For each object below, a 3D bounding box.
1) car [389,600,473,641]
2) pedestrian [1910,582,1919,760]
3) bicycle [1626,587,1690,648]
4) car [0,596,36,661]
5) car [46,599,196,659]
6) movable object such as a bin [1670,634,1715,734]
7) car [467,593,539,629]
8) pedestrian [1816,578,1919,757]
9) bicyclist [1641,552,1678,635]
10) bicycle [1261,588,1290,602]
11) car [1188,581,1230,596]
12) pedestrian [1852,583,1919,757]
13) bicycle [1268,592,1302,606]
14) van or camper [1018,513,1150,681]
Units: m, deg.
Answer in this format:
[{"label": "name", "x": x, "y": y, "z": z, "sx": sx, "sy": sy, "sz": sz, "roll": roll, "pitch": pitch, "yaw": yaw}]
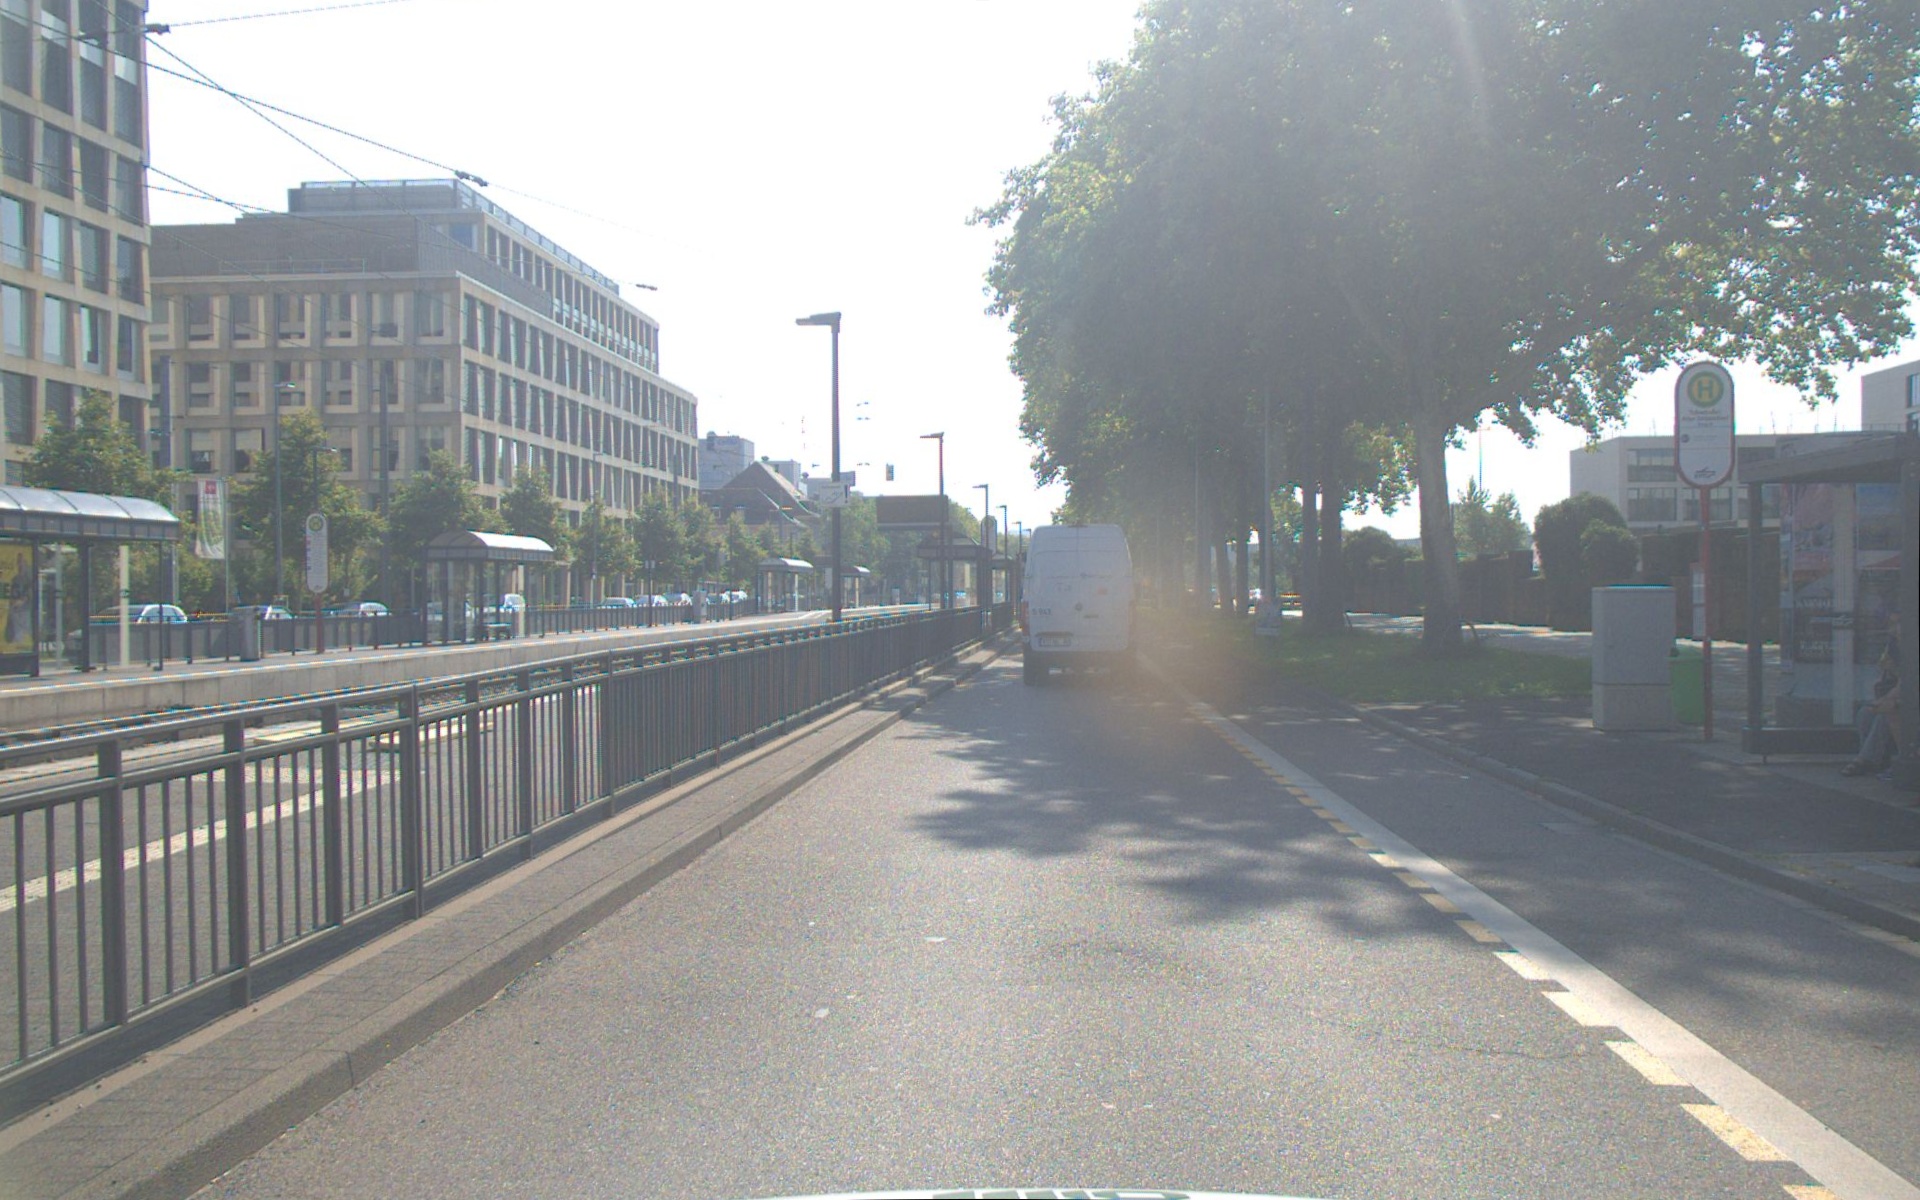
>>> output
[{"label": "car", "x": -20.536, "y": 0.766, "z": 64.362, "sx": 1.648, "sy": 1.432, "sz": 4.375, "roll": -1, "pitch": 1, "yaw": 3}, {"label": "pedestrian", "x": 7.289, "y": 0.518, "z": 11.766, "sx": 0.725, "sy": 1.283, "sz": 0.612, "roll": 1, "pitch": -1, "yaw": 4}, {"label": "bicycle", "x": 13.379, "y": 0.319, "z": 31.742, "sx": 0.481, "sy": 1.108, "sz": 1.858, "roll": -1, "pitch": 1, "yaw": 1}, {"label": "car", "x": -22.219, "y": 0.672, "z": 35.901, "sx": 1.648, "sy": 1.432, "sz": 4.375, "roll": -1, "pitch": 1, "yaw": 3}, {"label": "car", "x": -21.812, "y": 0.715, "z": 43.180, "sx": 1.648, "sy": 1.432, "sz": 4.084, "roll": -1, "pitch": 1, "yaw": 3}, {"label": "movable object such as a bin", "x": 7.024, "y": 0.804, "z": 15.863, "sx": 0.265, "sy": 0.931, "sz": 0.386, "roll": -1, "pitch": 0, "yaw": 2}, {"label": "car", "x": -19.420, "y": 0.444, "z": 70.466, "sx": 1.648, "sy": 1.432, "sz": 4.373, "roll": -1, "pitch": 1, "yaw": 3}, {"label": "pedestrian", "x": 7.366, "y": 0.530, "z": 13.225, "sx": 0.734, "sy": 1.390, "sz": 0.612, "roll": 1, "pitch": -1, "yaw": 4}, {"label": "bicyclist", "x": 13.376, "y": -0.120, "z": 31.632, "sx": 0.459, "sy": 1.566, "sz": 0.596, "roll": -1, "pitch": 0, "yaw": 1}, {"label": "bicycle", "x": 21.396, "y": -0.324, "z": 112.232, "sx": 1.891, "sy": 0.861, "sz": 0.372, "roll": -2, "pitch": 0, "yaw": 4}, {"label": "car", "x": 24.443, "y": -1.134, "z": 162.314, "sx": 3.903, "sy": 1.400, "sz": 2.001, "roll": 1, "pitch": -1, "yaw": 4}, {"label": "pedestrian", "x": 7.296, "y": 0.524, "z": 12.559, "sx": 0.725, "sy": 1.283, "sz": 0.612, "roll": 1, "pitch": -1, "yaw": 4}, {"label": "bicycle", "x": 21.473, "y": -0.073, "z": 109.278, "sx": 2.134, "sy": 0.861, "sz": 0.503, "roll": -2, "pitch": 0, "yaw": 4}, {"label": "van or camper", "x": 2.116, "y": -0.071, "z": 29.597, "sx": 2.071, "sy": 2.729, "sz": 5.251, "roll": 1, "pitch": 0, "yaw": 1}]
